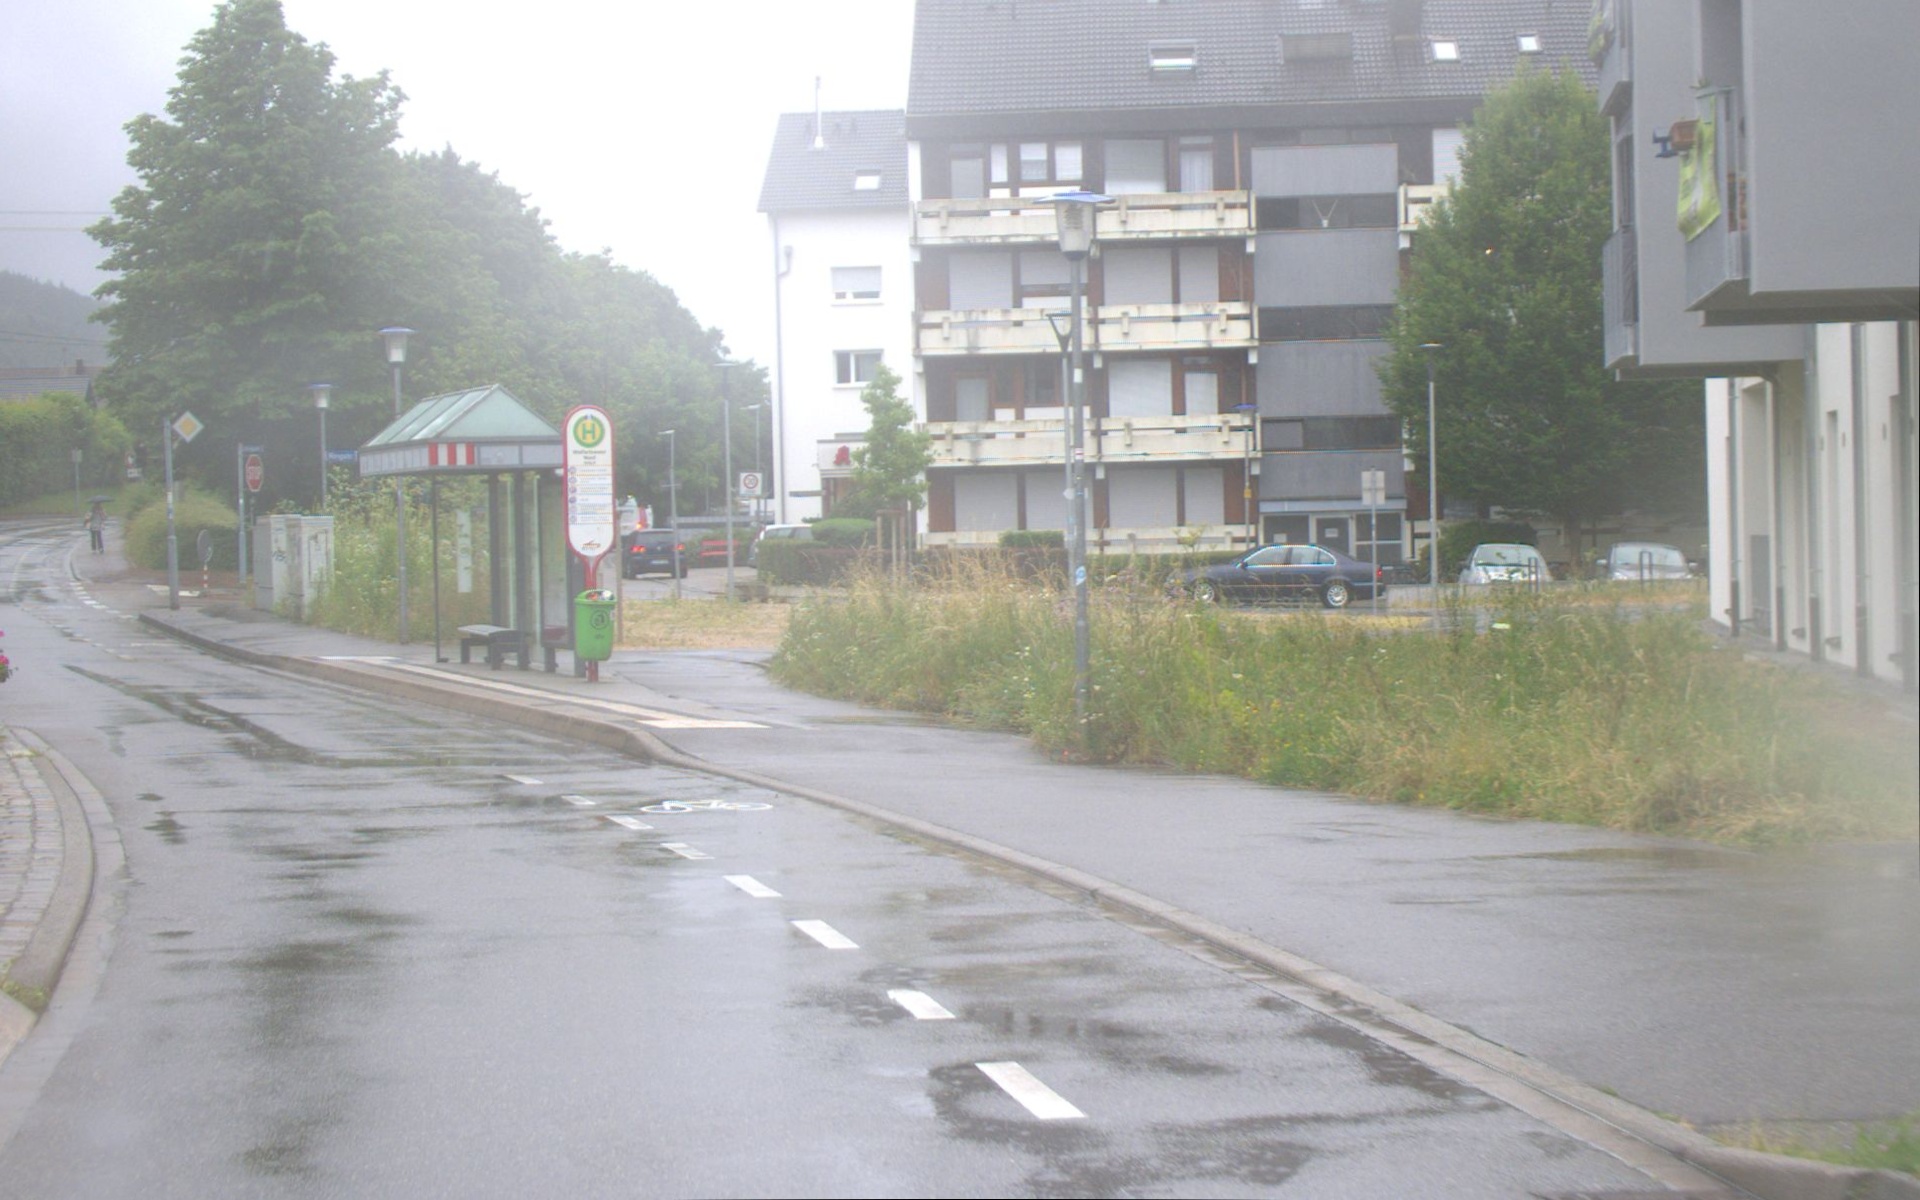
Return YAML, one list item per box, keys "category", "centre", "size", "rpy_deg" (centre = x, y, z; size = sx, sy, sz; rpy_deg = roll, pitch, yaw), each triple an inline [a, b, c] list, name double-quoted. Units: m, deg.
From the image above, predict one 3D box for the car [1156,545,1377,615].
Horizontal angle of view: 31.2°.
- category: "car"
  centre: [6.548, -0.446, 73.820]
  size: [4.600, 1.383, 1.947]
  rpy_deg: [1, 2, 2]

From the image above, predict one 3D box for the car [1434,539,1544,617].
- category: "car"
  centre: [10.213, -0.409, 66.576]
  size: [1.716, 1.436, 3.706]
  rpy_deg: [0, -1, 3]

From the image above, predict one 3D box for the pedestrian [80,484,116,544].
- category: "pedestrian"
  centre: [-24.923, -2.481, 99.387]
  size: [0.919, 1.669, 1.057]
  rpy_deg: [-3, 3, -14]

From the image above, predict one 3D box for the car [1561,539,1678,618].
- category: "car"
  centre: [12.665, -0.392, 66.184]
  size: [1.716, 1.436, 3.706]
  rpy_deg: [0, -1, 3]

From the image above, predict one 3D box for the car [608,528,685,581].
- category: "car"
  centre: [-9.308, -1.357, 101.744]
  size: [1.688, 1.433, 3.613]
  rpy_deg: [-1, 3, -15]
